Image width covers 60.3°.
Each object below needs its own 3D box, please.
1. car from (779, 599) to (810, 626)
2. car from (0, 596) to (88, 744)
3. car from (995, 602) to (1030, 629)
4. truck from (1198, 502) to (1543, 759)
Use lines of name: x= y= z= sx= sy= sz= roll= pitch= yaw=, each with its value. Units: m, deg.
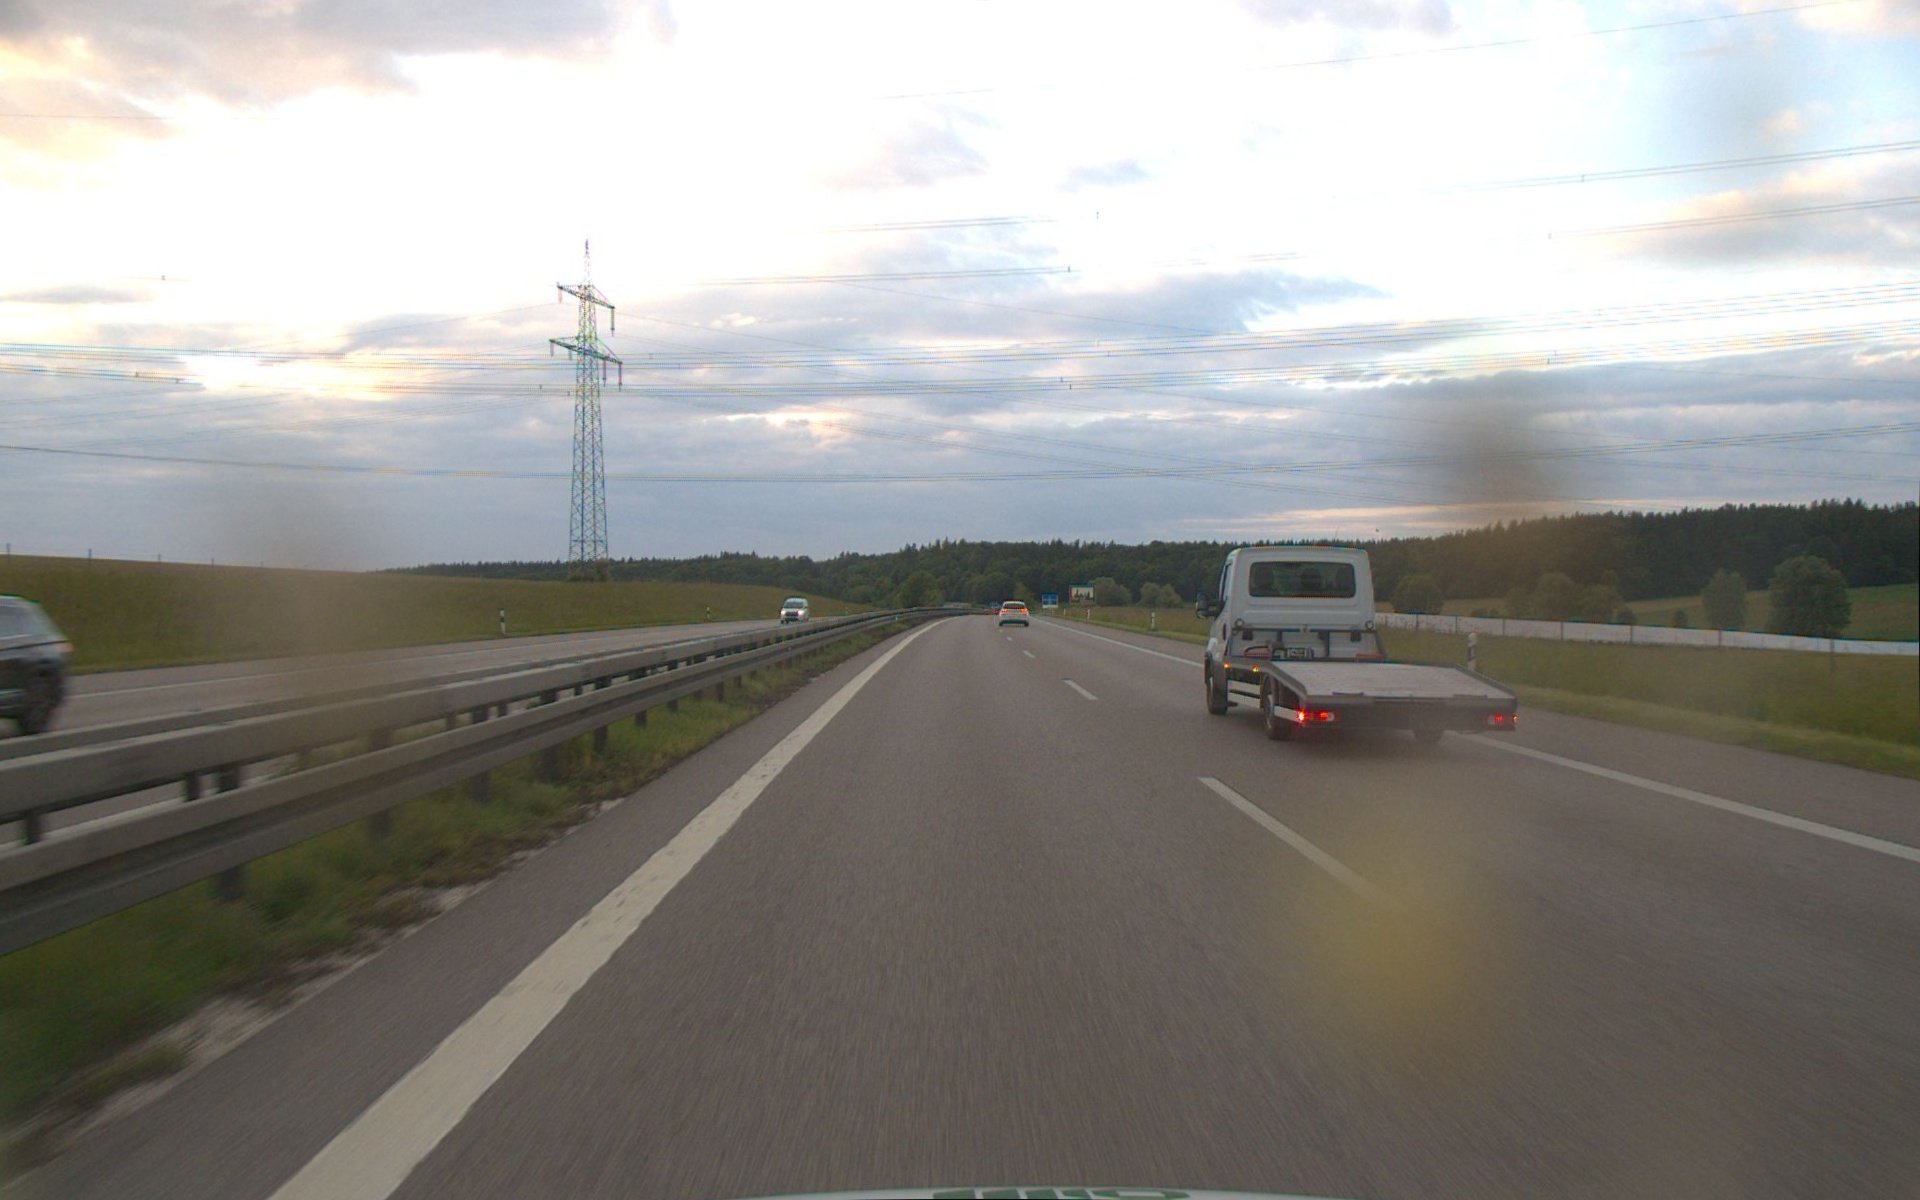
car: x=-12.006 y=0.892 z=120.185 sx=1.724 sy=1.833 sz=4.994 roll=-1 pitch=0 yaw=0
car: x=-11.904 y=0.795 z=18.845 sx=1.663 sy=1.693 sz=4.461 roll=1 pitch=0 yaw=-2
car: x=3.129 y=0.902 z=99.083 sx=1.911 sy=1.558 sz=4.080 roll=1 pitch=0 yaw=0
truck: x=4.460 y=0.297 z=19.578 sx=2.127 sy=2.401 sz=7.696 roll=1 pitch=0 yaw=0
